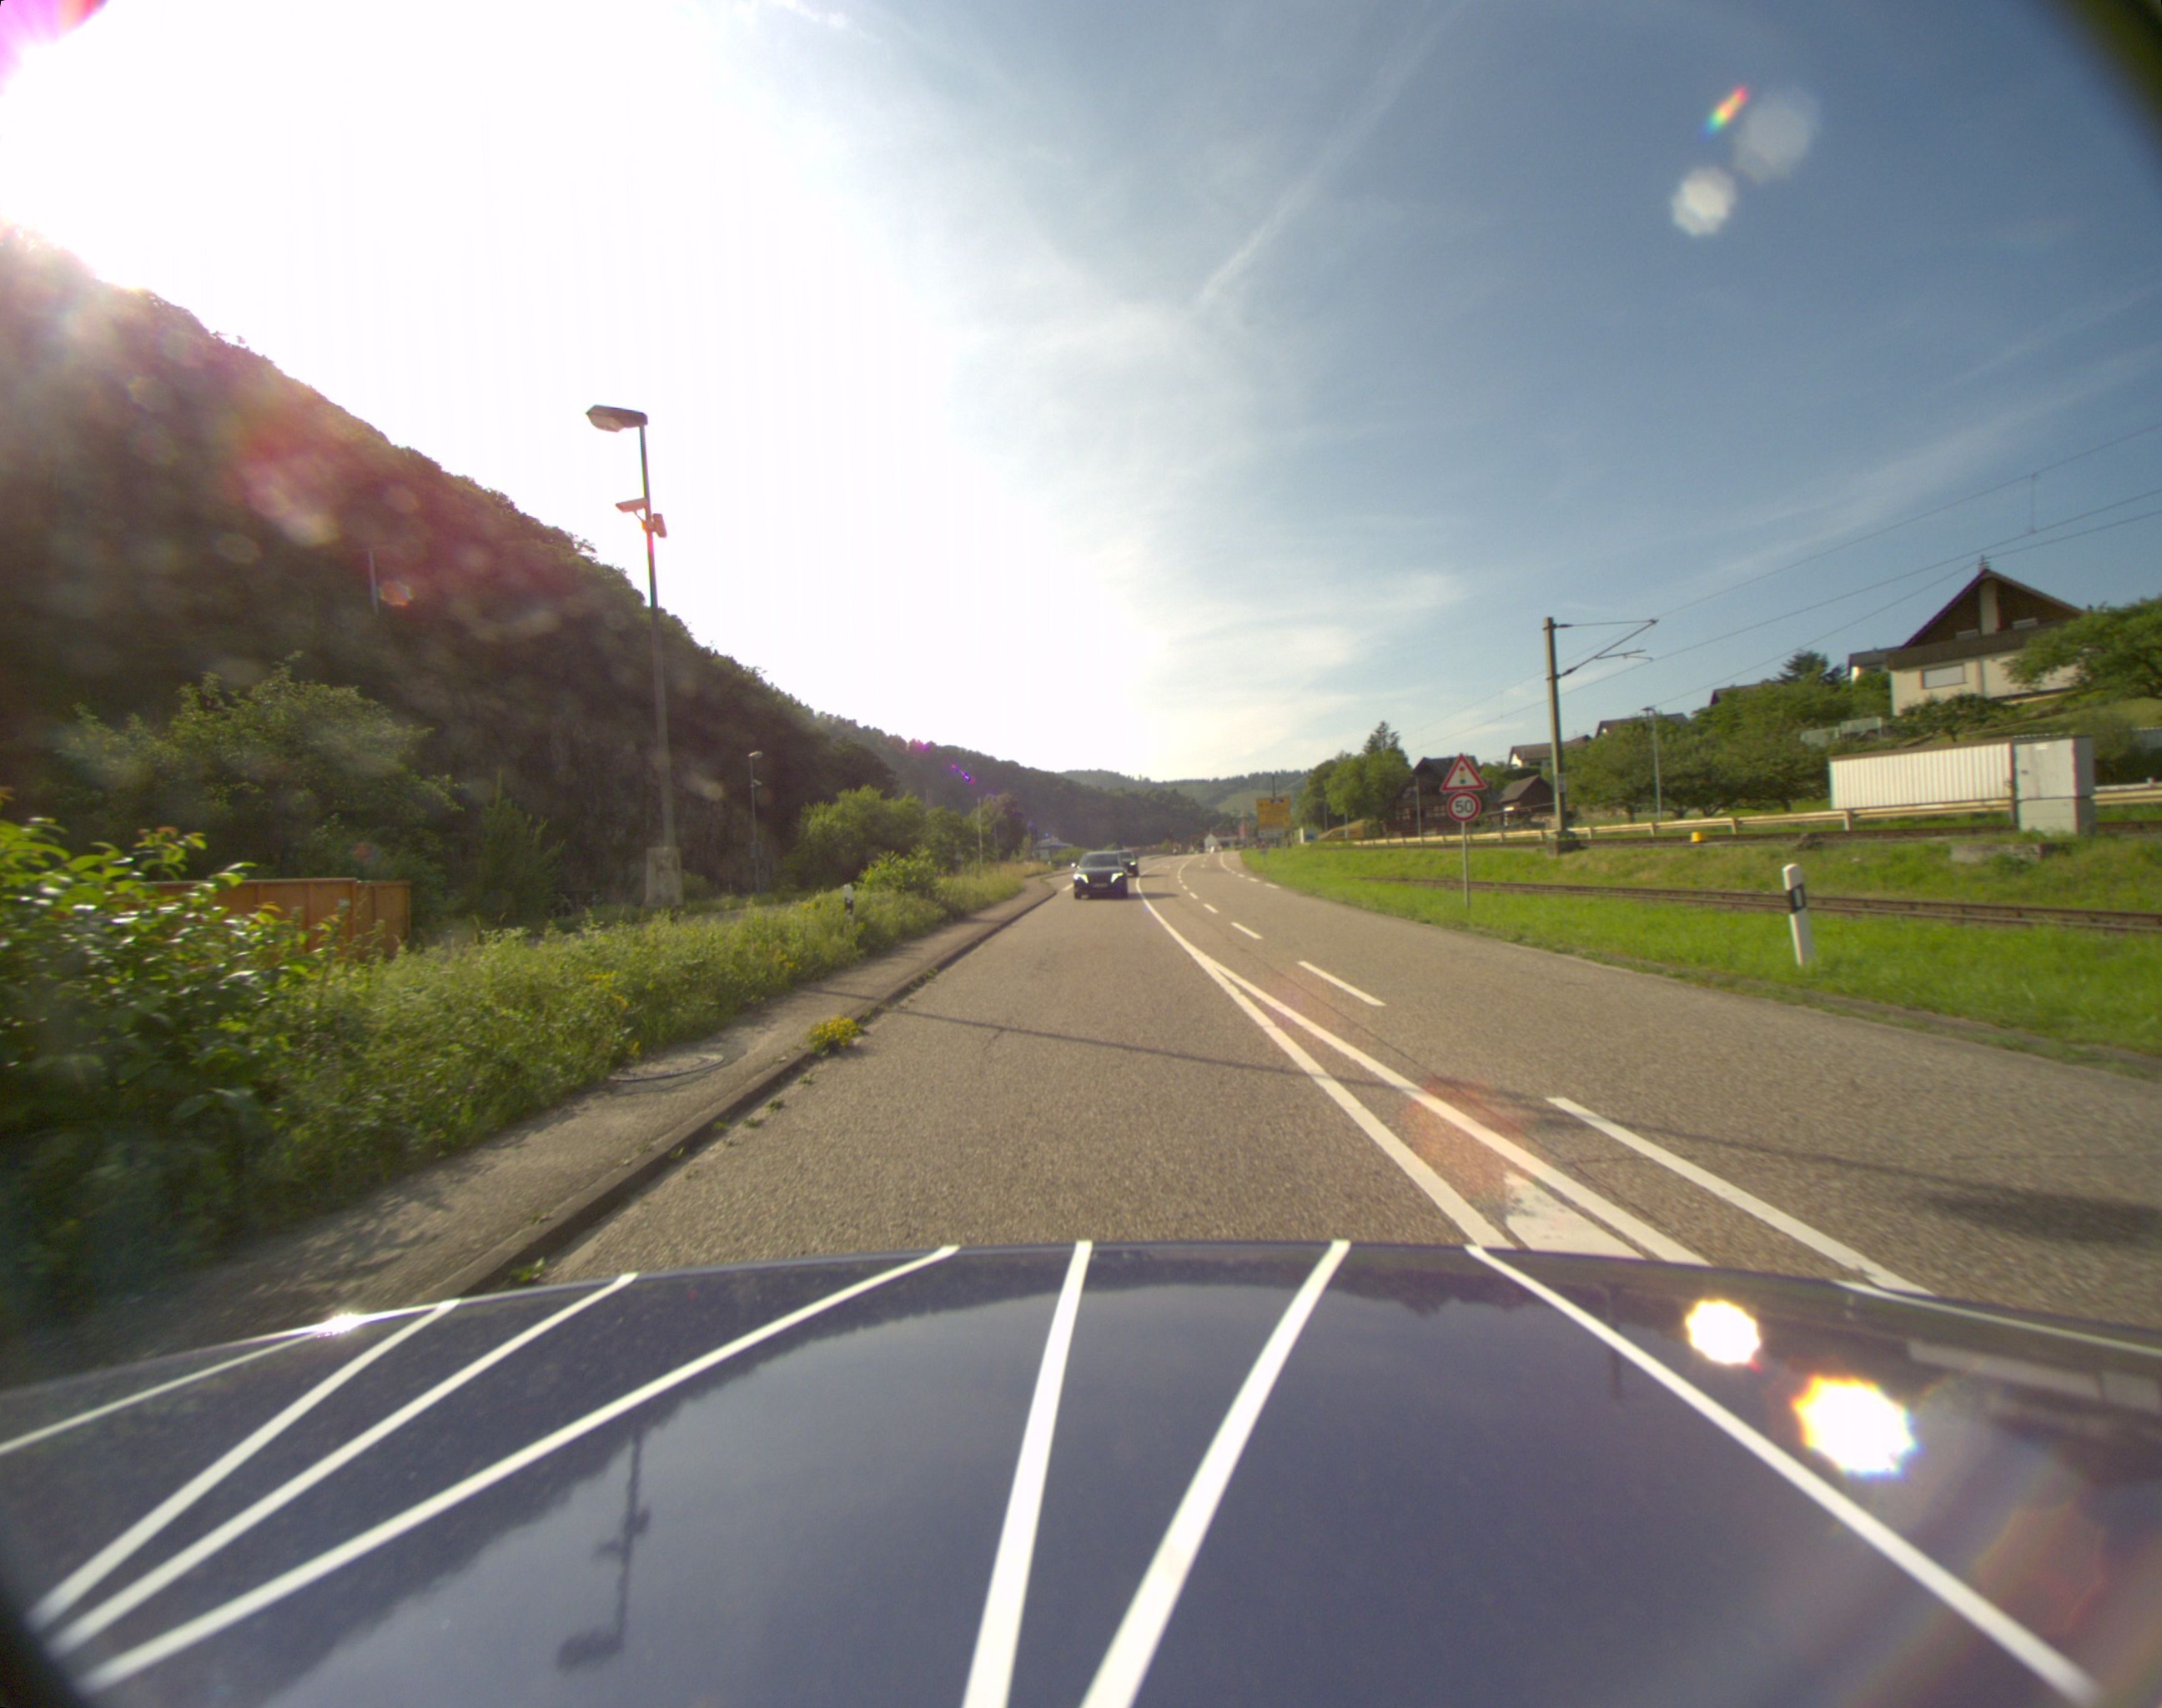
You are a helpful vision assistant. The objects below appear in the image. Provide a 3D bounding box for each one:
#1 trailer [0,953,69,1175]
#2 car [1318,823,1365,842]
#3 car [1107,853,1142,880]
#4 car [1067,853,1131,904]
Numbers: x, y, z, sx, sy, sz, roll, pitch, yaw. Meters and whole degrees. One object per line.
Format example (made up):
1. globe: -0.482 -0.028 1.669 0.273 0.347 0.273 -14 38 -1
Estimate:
1. trailer: -8.799 1.554 0.551 2.799 1.465 9.887 -6 0 0
2. car: 43.181 -3.523 125.876 7.072 2.442 2.952 -5 0 21
3. car: 2.670 0.751 47.842 1.919 1.455 4.000 -5 0 1
4. car: 0.780 0.852 28.339 1.998 1.660 5.513 -2 -1 5
